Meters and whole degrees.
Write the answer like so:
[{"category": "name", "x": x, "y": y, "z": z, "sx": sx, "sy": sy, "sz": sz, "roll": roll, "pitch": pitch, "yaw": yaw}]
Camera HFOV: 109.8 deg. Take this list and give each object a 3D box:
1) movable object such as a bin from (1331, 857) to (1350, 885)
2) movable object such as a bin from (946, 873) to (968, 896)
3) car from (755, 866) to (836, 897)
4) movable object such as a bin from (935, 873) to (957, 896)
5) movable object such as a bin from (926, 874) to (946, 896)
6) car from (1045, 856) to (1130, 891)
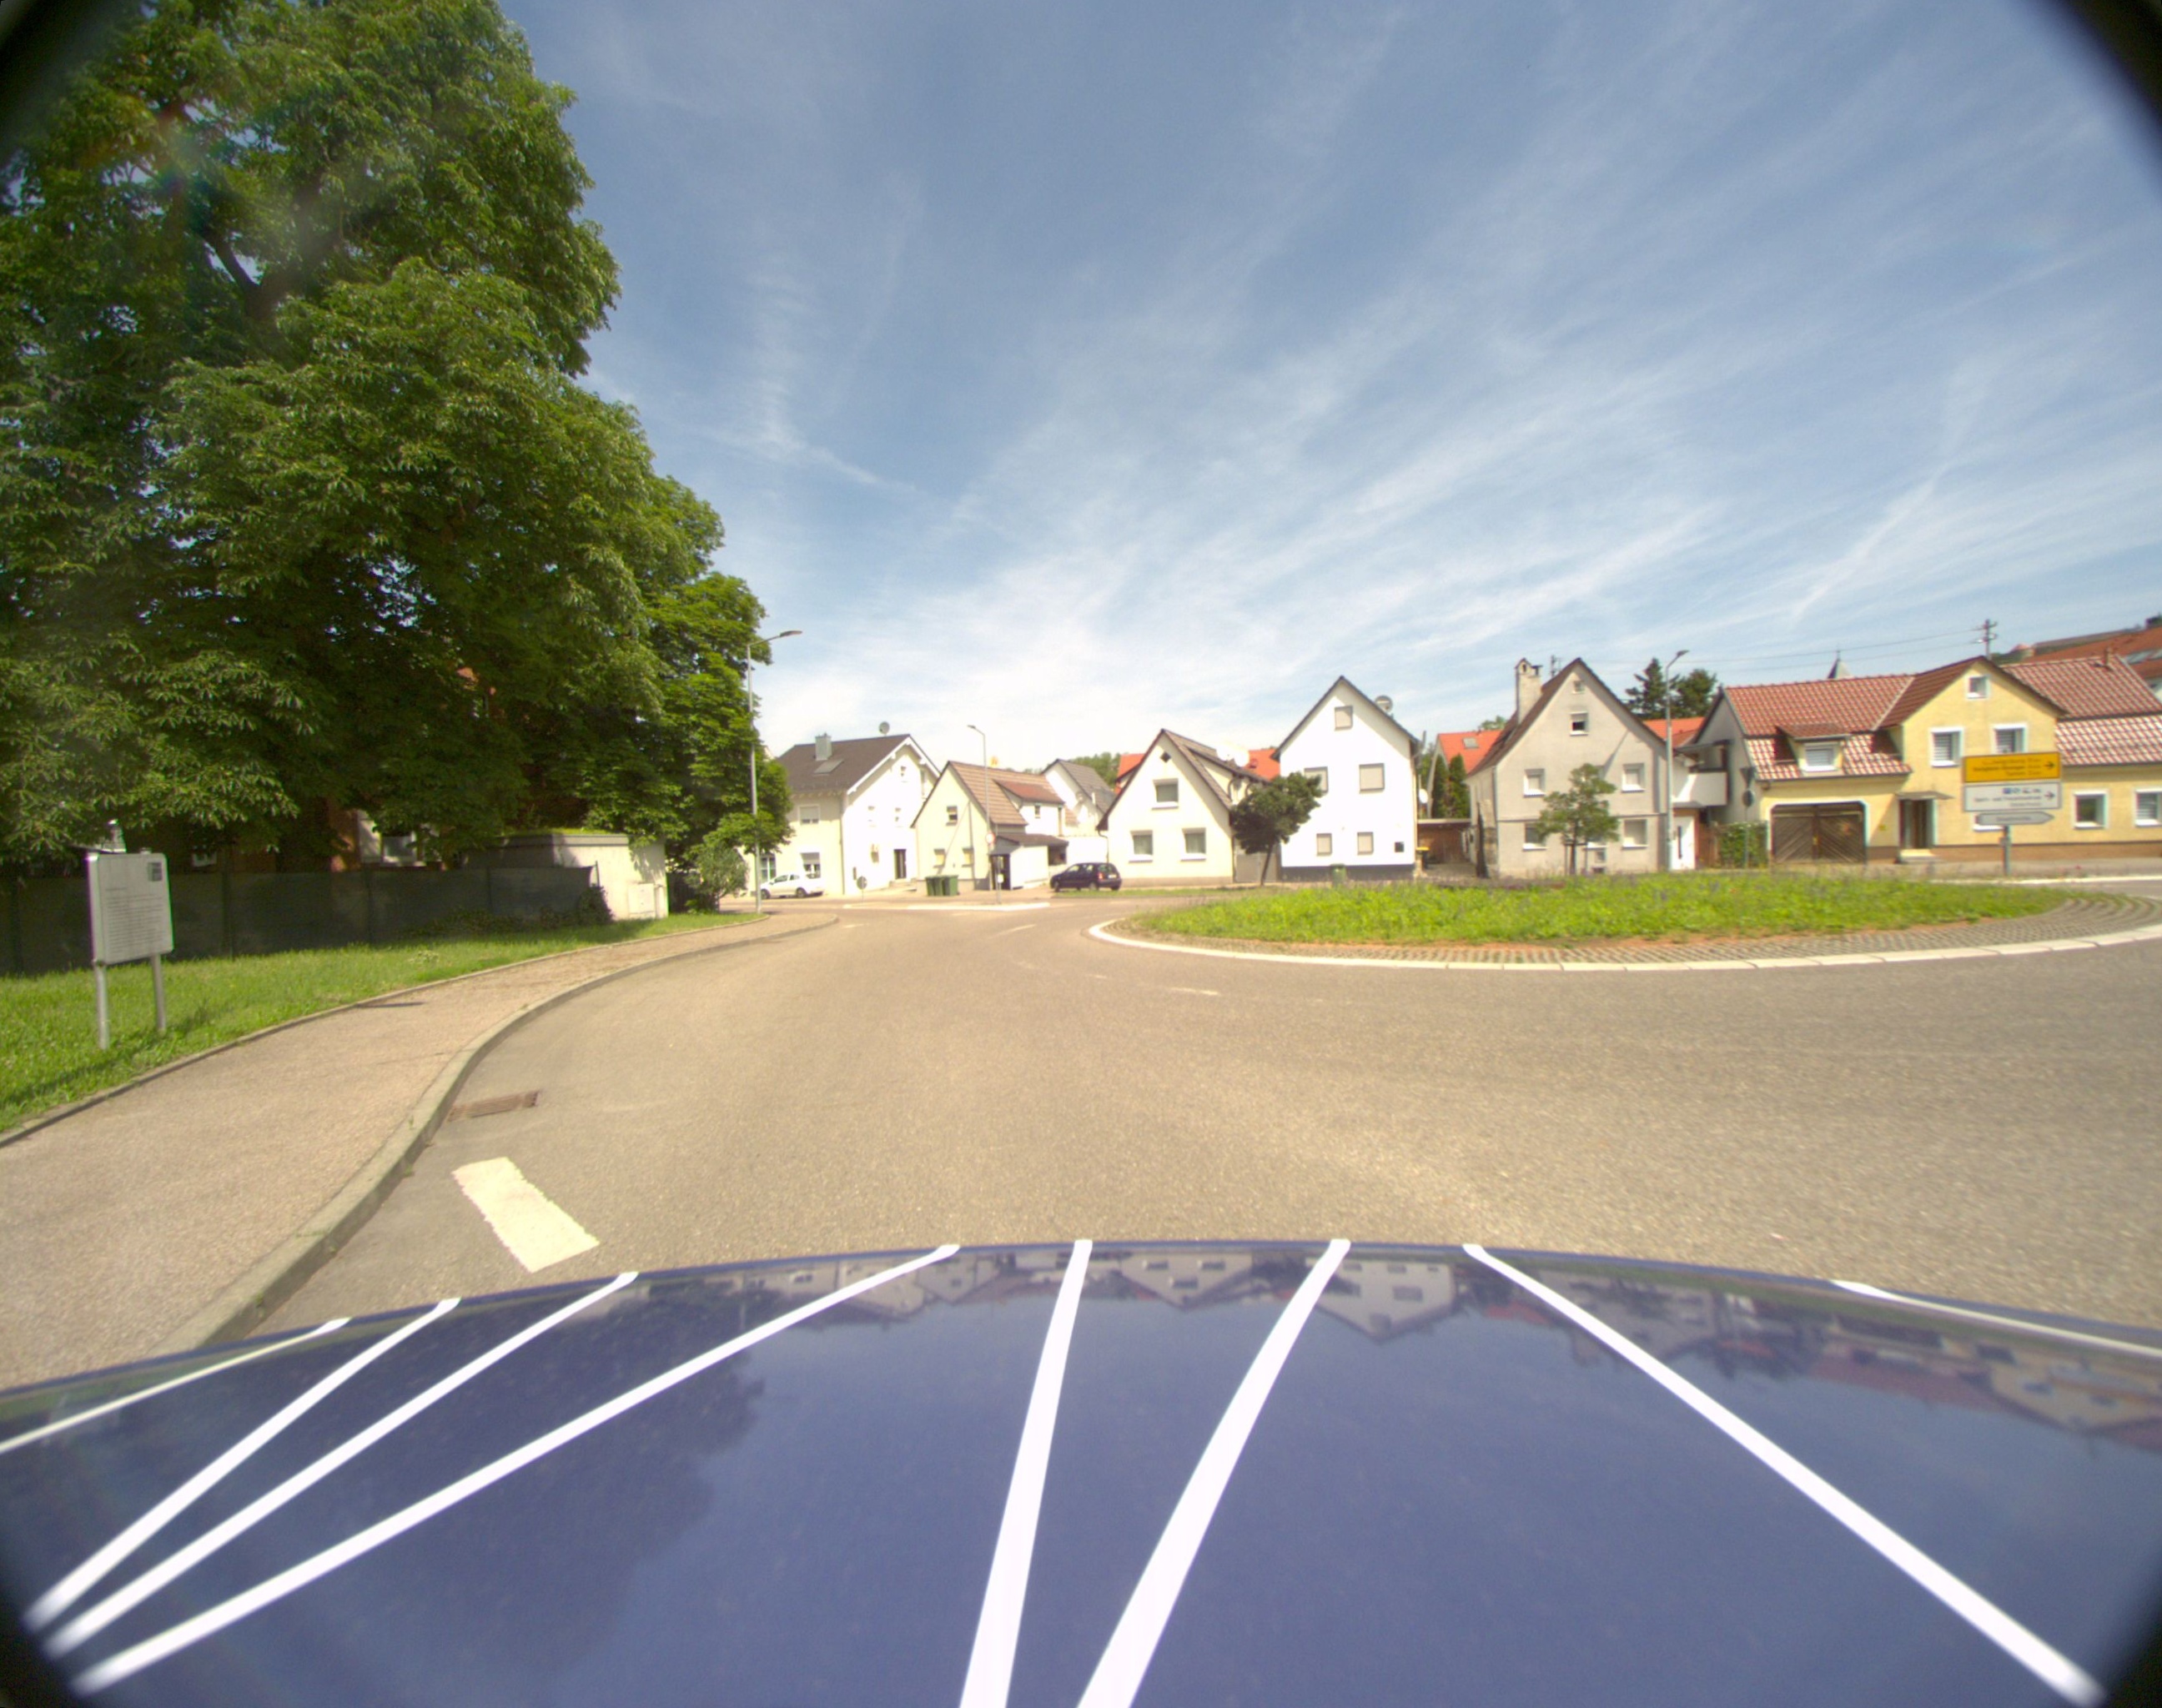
[{"category": "movable object such as a bin", "x": 9.958, "y": 0.646, "z": 29.178, "sx": 0.578, "sy": 1.042, "sz": 0.904, "roll": -3, "pitch": 0, "yaw": 13}, {"category": "movable object such as a bin", "x": -6.205, "y": 1.518, "z": 37.938, "sx": 0.723, "sy": 1.071, "sz": 0.684, "roll": -3, "pitch": 3, "yaw": 33}, {"category": "car", "x": -16.503, "y": 1.597, "z": 43.953, "sx": 3.992, "sy": 1.494, "sz": 1.828, "roll": -3, "pitch": 3, "yaw": 18}, {"category": "movable object such as a bin", "x": -6.811, "y": 1.529, "z": 38.352, "sx": 0.631, "sy": 1.071, "sz": 0.733, "roll": -3, "pitch": 3, "yaw": 33}, {"category": "movable object such as a bin", "x": -7.404, "y": 1.582, "z": 38.720, "sx": 0.630, "sy": 1.087, "sz": 0.644, "roll": -3, "pitch": 3, "yaw": 33}, {"category": "car", "x": 0.258, "y": 0.906, "z": 36.142, "sx": 1.781, "sy": 1.433, "sz": 3.836, "roll": -7, "pitch": 5, "yaw": -44}]
